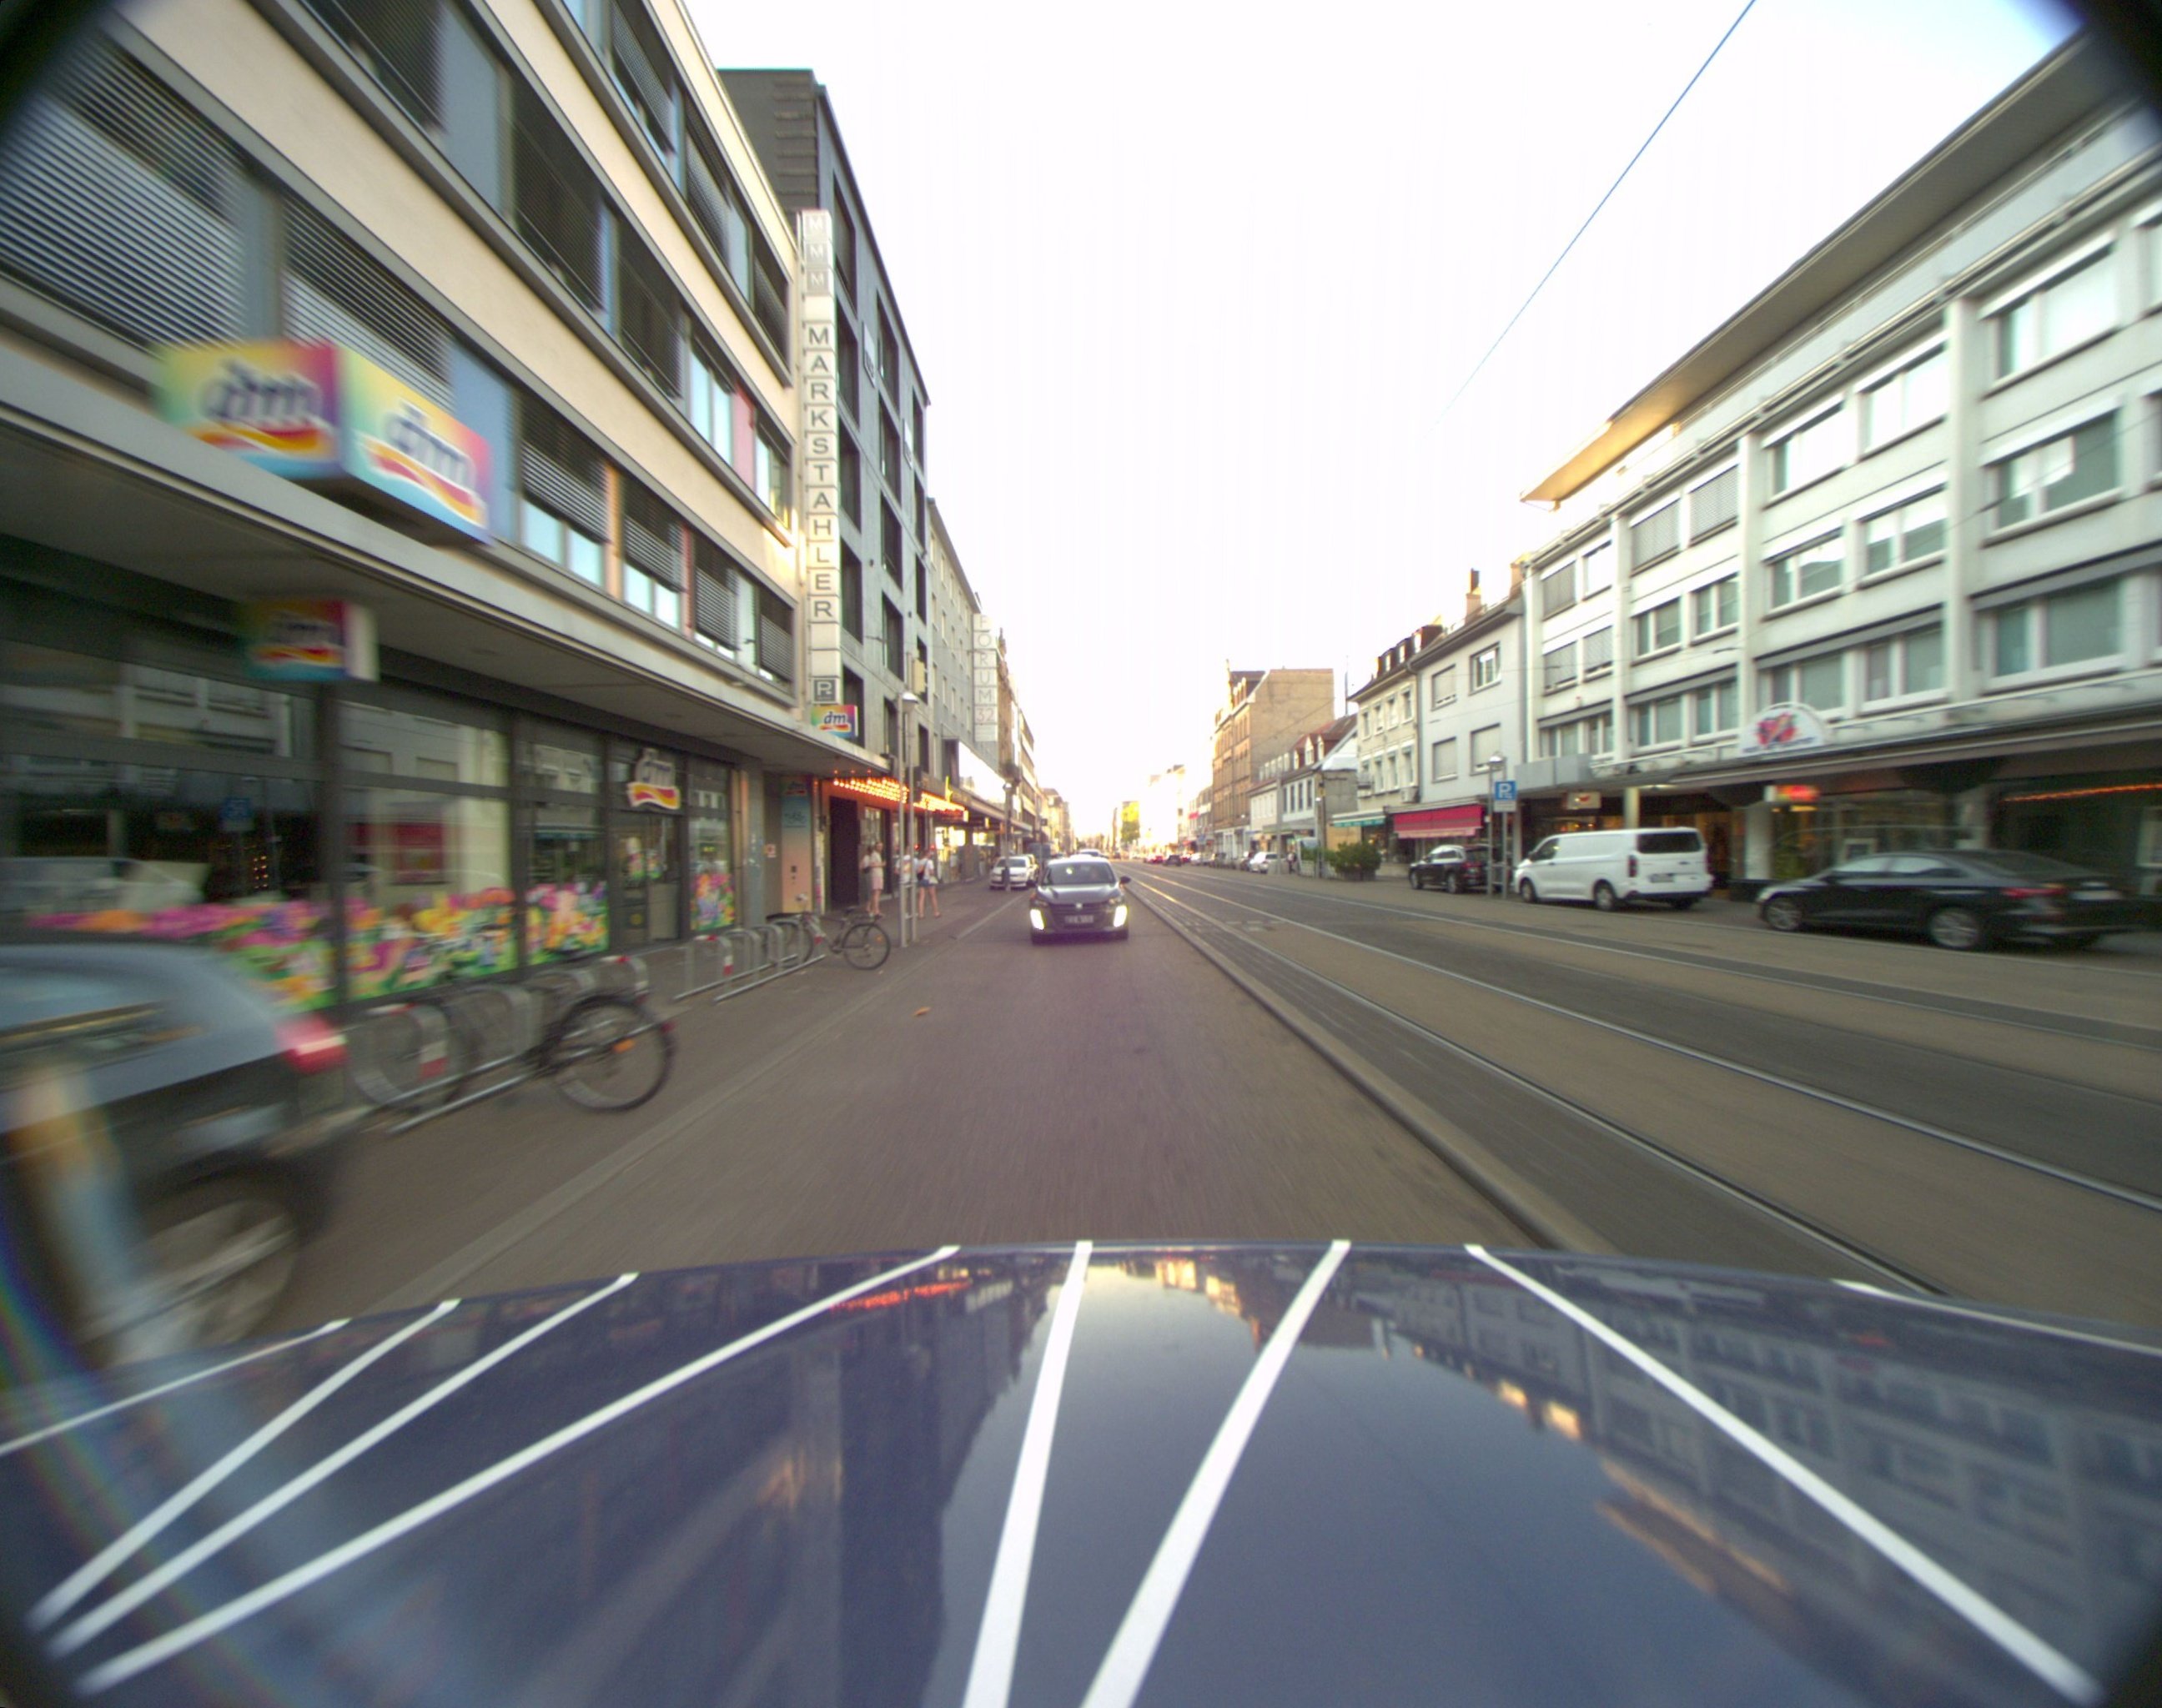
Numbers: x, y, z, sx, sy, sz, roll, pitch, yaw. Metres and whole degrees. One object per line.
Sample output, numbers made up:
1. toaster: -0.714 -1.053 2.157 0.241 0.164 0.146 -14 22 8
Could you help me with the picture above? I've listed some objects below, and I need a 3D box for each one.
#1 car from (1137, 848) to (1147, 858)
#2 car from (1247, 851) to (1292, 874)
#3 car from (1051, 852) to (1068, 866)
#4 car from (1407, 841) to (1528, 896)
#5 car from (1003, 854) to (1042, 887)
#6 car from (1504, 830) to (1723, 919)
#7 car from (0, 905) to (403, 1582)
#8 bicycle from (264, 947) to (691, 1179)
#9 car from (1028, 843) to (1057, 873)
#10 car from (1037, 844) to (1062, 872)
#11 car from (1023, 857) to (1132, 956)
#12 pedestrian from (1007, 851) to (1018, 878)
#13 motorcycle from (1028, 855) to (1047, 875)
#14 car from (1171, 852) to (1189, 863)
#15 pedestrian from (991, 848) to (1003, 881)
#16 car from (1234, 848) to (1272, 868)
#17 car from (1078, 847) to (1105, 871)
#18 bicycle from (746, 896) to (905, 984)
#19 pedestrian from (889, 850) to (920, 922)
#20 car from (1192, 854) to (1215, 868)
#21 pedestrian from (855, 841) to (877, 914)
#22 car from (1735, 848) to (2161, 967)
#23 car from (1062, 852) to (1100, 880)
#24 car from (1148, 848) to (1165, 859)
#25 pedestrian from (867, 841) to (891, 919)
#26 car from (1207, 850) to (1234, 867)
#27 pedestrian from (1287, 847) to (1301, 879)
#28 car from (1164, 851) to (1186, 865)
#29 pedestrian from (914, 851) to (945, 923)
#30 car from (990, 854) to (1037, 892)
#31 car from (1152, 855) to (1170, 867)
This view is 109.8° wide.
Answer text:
1. car: 13.549 -0.242 169.780 1.998 2.024 4.000 -1 0 0
2. car: 13.358 0.571 54.075 1.998 1.535 4.878 -2 0 1
3. car: -2.524 0.590 90.982 1.999 1.627 5.243 -1 0 -1
4. car: 13.437 0.449 26.748 1.863 1.711 4.527 -2 0 -1
5. car: -2.967 0.799 39.016 1.673 1.565 4.034 -1 0 0
6. car: 13.296 0.441 19.489 1.960 1.965 5.162 -1 0 -1
7. car: -3.421 0.955 0.694 1.748 1.503 4.258 1 0 1
8. bicycle: -3.405 1.161 4.424 1.890 1.131 0.676 -1 1 -2
9. car: -3.066 0.306 61.666 2.046 2.371 5.584 -1 0 -1
10. car: -2.782 0.339 68.097 1.999 2.390 5.563 -1 0 -1
11. car: -0.080 0.866 14.561 1.732 1.513 4.333 -2 0 -1
12. pedestrian: -4.353 0.656 48.301 0.610 1.743 0.605 -1 1 0
13. motorcycle: -3.054 0.731 53.425 0.574 1.369 1.512 0 1 30
14. car: 14.041 0.448 108.212 1.998 1.543 4.000 -1 0 0
15. pedestrian: -4.568 0.561 41.355 0.610 1.743 0.605 -1 1 0
16. car: 13.401 0.301 59.400 1.914 1.535 4.552 -1 0 0
17. car: 0.823 0.386 60.617 1.999 1.805 3.999 -1 0 -1
18. bicycle: -3.400 1.135 10.221 1.890 1.071 0.676 1 1 -2
19. pedestrian: -4.353 0.782 18.763 0.610 1.743 0.605 -1 1 0
20. car: 13.975 0.768 86.712 1.998 1.543 4.206 -1 0 0
21. pedestrian: -5.694 0.616 20.153 0.452 1.888 0.421 -1 1 0
22. car: 13.287 0.678 11.978 1.998 1.457 4.558 -2 0 -1
23. car: 0.003 0.610 41.958 1.998 1.450 3.999 -1 0 0
24. car: 10.754 -0.111 108.582 1.998 1.543 4.000 -1 0 0
25. pedestrian: -4.999 0.639 18.805 0.456 1.888 0.421 -1 1 0
26. car: 13.675 0.427 74.714 1.998 1.543 4.000 -1 0 0
27. pedestrian: 13.383 0.573 47.770 0.823 2.002 0.713 0 1 16
28. car: 10.438 0.415 84.550 1.998 1.543 4.000 -1 0 0
29. pedestrian: -3.717 0.796 18.638 0.605 1.717 0.646 -1 1 0
30. car: -2.940 0.794 33.860 1.682 1.534 3.886 1 0 1
31. car: 10.661 0.891 101.330 1.998 1.543 4.000 -1 0 0
